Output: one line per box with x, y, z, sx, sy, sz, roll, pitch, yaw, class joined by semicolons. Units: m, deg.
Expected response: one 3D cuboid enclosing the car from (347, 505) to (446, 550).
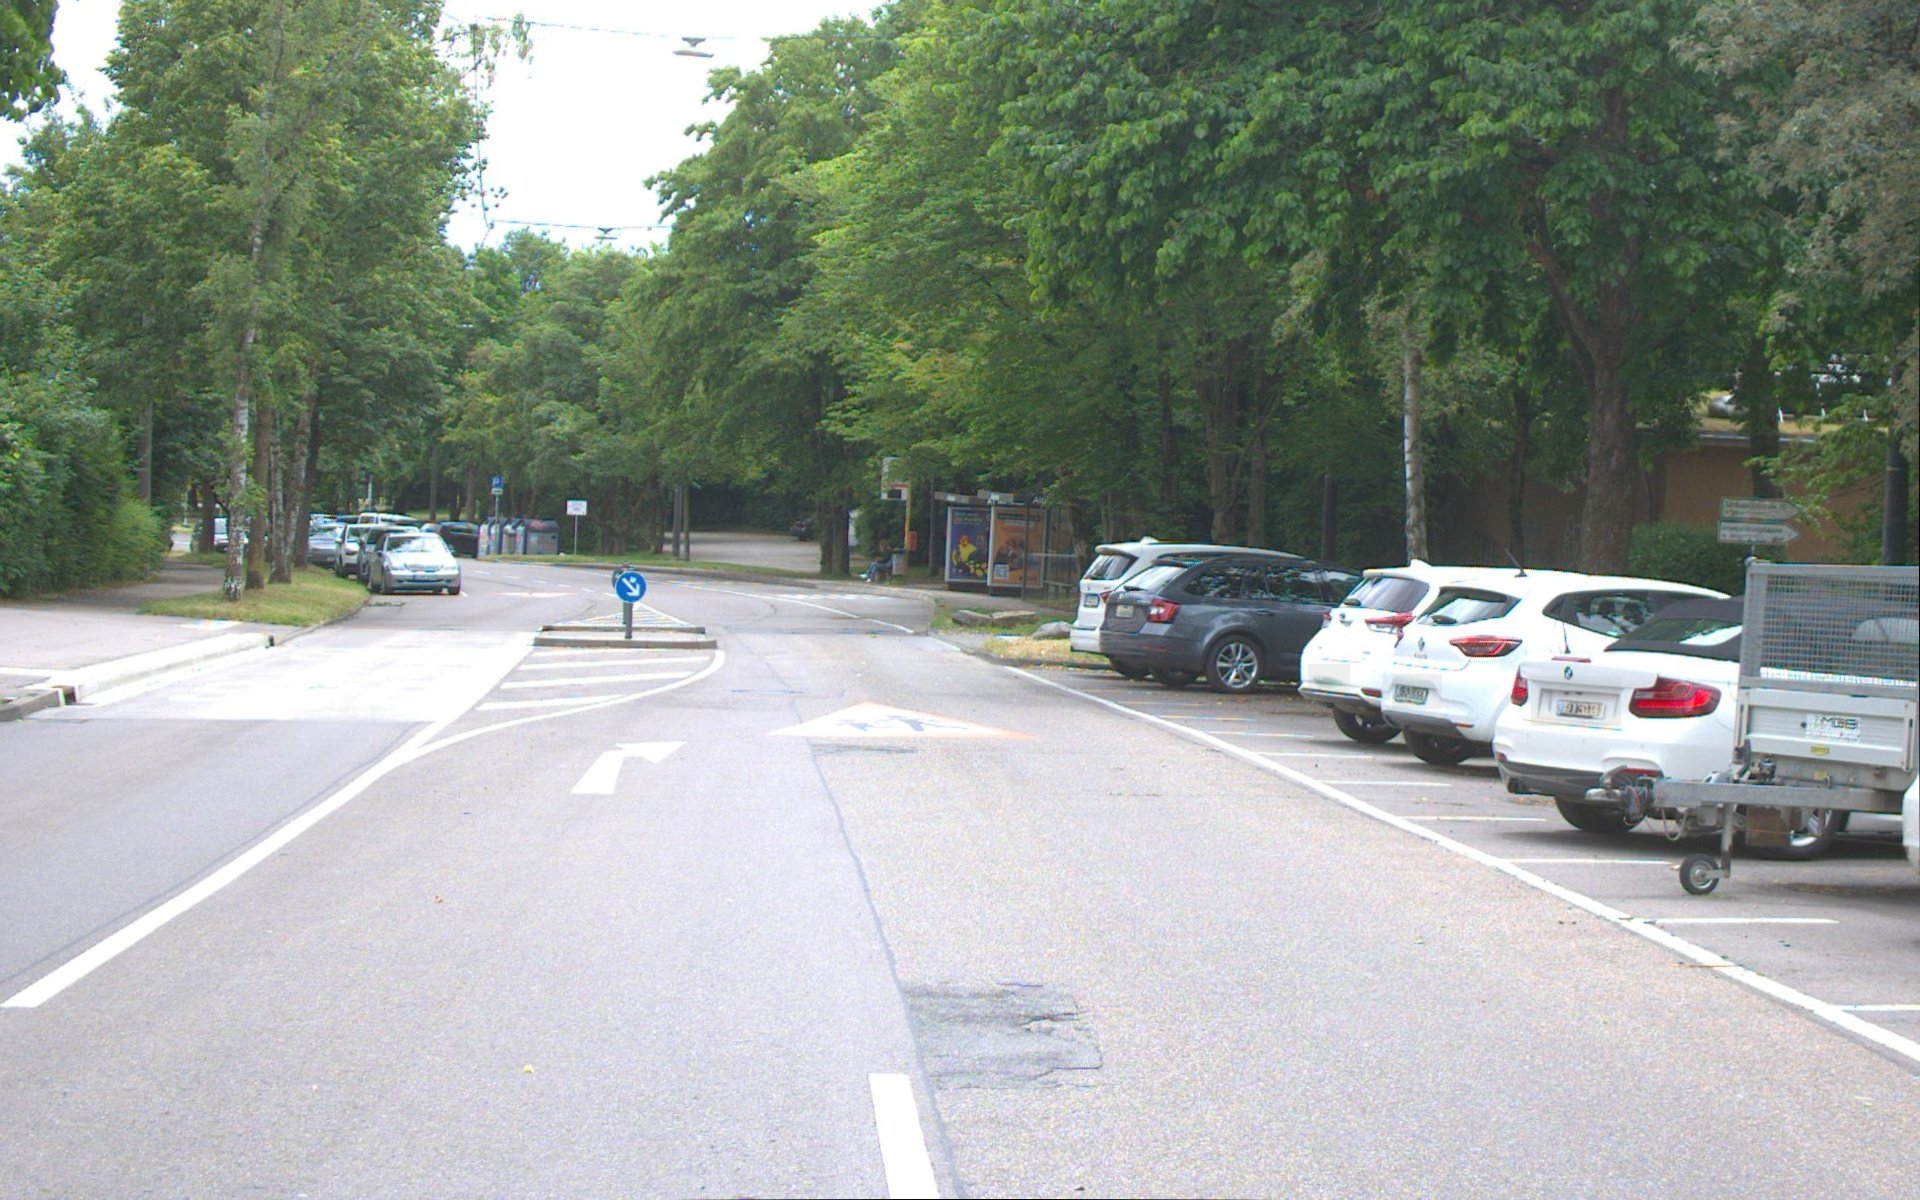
-24.786;-3.182;151.283;3.820;1.714;1.877;4;-1;-44;car

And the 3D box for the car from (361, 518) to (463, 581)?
-12.691;-1.183;79.453;1.735;1.411;4.474;0;1;-17;car

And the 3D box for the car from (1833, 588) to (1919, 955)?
5.848;0.792;14.268;3.986;1.459;1.792;3;0;-24;car

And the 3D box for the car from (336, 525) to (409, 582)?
-16.605;-1.322;97.026;1.735;1.573;4.143;0;1;-14;car

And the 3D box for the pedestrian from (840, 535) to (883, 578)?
-2.719;-1.199;94.958;1.063;1.178;0.580;1;1;-16;pedestrian

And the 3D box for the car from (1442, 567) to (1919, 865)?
4.910;0.657;19.140;3.986;1.459;1.851;3;1;-26;car

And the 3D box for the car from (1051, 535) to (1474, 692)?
3.513;0.151;40.182;4.466;1.580;1.907;3;0;-14;car

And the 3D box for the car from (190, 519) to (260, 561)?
-28.453;-2.339;133.055;1.804;1.557;4.268;-3;2;-23;car

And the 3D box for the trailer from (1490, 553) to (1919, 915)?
4.719;0.626;16.341;3.986;1.547;1.659;2;1;-19;trailer

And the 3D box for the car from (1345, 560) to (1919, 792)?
5.018;0.549;24.894;3.985;1.459;1.797;3;0;-20;car

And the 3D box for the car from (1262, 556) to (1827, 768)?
4.664;0.488;27.531;3.985;1.459;1.867;3;0;-19;car

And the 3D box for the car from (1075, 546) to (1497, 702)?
3.523;0.253;37.389;4.131;1.459;1.799;3;0;-15;car

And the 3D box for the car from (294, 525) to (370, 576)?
-19.753;-1.562;107.972;1.865;1.533;4.228;1;1;-17;car

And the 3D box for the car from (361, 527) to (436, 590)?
-13.994;-1.046;85.540;1.735;1.532;4.191;0;1;-11;car
